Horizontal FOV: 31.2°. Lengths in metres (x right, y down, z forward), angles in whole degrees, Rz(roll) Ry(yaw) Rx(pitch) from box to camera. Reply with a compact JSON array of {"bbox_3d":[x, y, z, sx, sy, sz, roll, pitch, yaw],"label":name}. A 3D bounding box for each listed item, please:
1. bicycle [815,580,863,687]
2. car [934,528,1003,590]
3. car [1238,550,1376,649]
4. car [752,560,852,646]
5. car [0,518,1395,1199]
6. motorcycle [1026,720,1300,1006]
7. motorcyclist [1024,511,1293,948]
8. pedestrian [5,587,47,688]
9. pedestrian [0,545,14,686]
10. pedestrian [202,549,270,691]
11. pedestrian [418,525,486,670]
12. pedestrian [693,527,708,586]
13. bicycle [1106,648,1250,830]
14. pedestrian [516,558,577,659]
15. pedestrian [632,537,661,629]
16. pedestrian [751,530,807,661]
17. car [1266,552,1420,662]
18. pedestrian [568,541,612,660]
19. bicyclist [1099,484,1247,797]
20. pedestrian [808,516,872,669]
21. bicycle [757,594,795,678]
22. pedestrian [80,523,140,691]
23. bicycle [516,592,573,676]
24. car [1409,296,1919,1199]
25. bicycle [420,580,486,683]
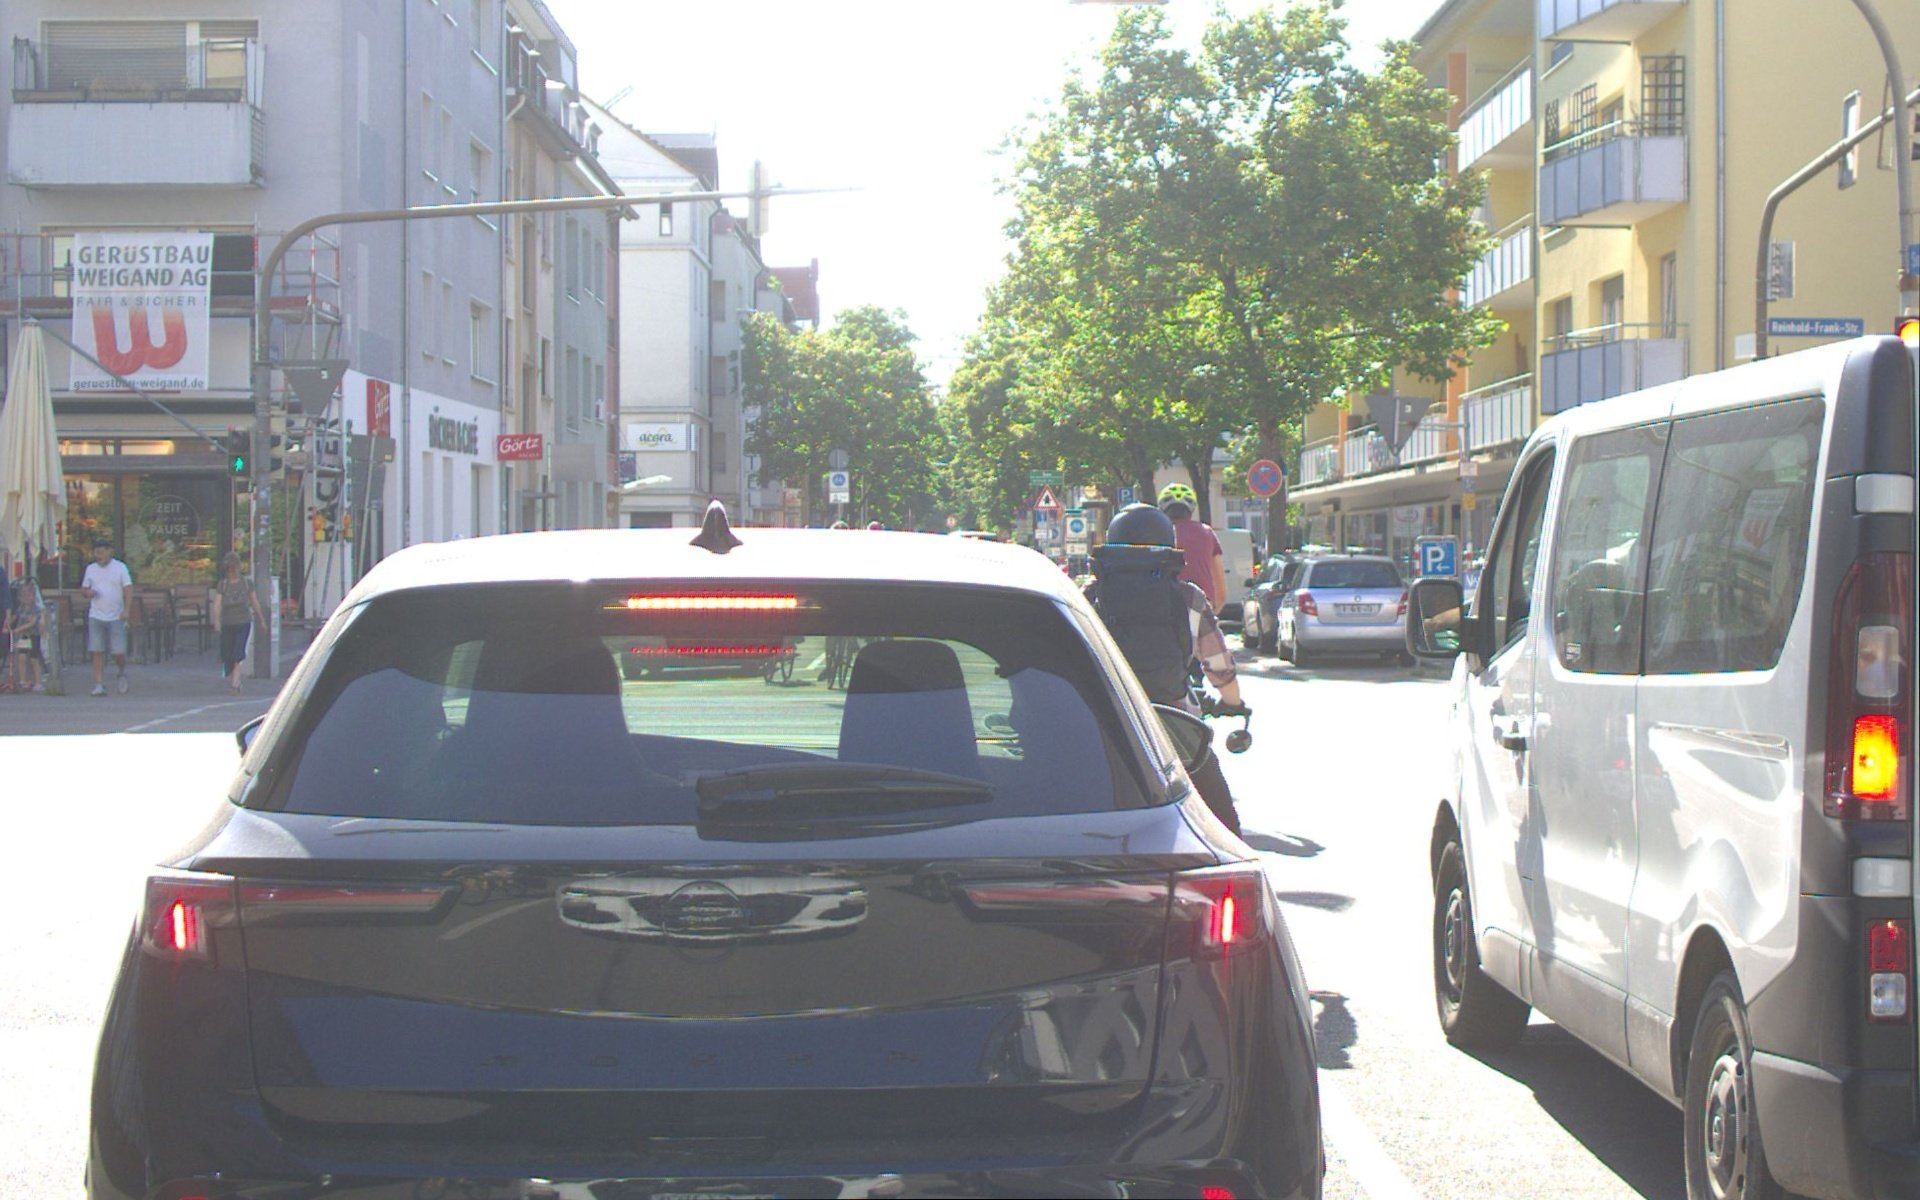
[{"bbox_3d":[-1.371,0.358,38.699,0.521,1.143,2.170,0,1,-2],"label":"bicycle"},{"bbox_3d":[0.253,-1.177,97.799,1.902,1.722,4.073,0,1,0],"label":"car"},{"bbox_3d":[5.207,-0.034,51.931,1.634,1.428,4.000,0,1,-1],"label":"car"},{"bbox_3d":[-3.244,0.036,71.271,1.825,1.722,4.000,0,1,1],"label":"car"},{"bbox_3d":[-0.420,0.626,6.313,1.770,1.525,4.001,0,1,-2],"label":"car"},{"bbox_3d":[0.682,0.895,12.199,0.825,0.842,1.885,0,1,-1],"label":"motorcycle"},{"bbox_3d":[0.690,0.437,12.360,0.864,1.497,1.160,0,1,-2],"label":"motorcyclist"},{"bbox_3d":[-10.174,0.408,37.447,0.355,1.088,0.462,0,1,-3],"label":"pedestrian"},{"bbox_3d":[-10.655,0.165,37.378,0.584,1.516,0.650,0,1,-3],"label":"pedestrian"},{"bbox_3d":[-7.775,0.208,36.944,0.617,1.516,0.725,0,1,-3],"label":"pedestrian"},{"bbox_3d":[-5.927,-0.035,40.125,0.707,1.672,0.802,0,1,-2],"label":"pedestrian"},{"bbox_3d":[-7.413,-1.239,98.295,0.402,1.669,0.418,0,1,-1],"label":"pedestrian"},{"bbox_3d":[1.212,0.757,19.487,0.577,0.901,2.301,0,1,-2],"label":"bicycle"},{"bbox_3d":[-5.181,0.098,43.112,0.707,1.249,0.802,0,1,-2],"label":"pedestrian"},{"bbox_3d":[-5.785,-0.313,63.443,0.488,1.684,0.588,0,1,-1],"label":"pedestrian"},{"bbox_3d":[-2.231,-0.057,42.403,0.680,1.600,0.762,0,1,-2],"label":"pedestrian"},{"bbox_3d":[5.216,0.061,47.251,1.634,1.428,3.957,0,1,-1],"label":"car"},{"bbox_3d":[-5.280,0.004,49.050,0.570,1.684,0.588,0,1,-1],"label":"pedestrian"},{"bbox_3d":[1.192,0.208,19.461,0.689,1.707,1.414,0,1,-2],"label":"bicyclist"},{"bbox_3d":[-1.350,-0.085,38.536,0.707,1.695,0.802,0,1,-2],"label":"pedestrian"},{"bbox_3d":[-2.272,0.435,42.654,0.443,0.989,2.069,0,1,-2],"label":"bicycle"},{"bbox_3d":[-9.020,0.072,36.503,0.561,1.769,0.584,0,1,-9],"label":"pedestrian"},{"bbox_3d":[-5.181,0.413,42.951,0.521,0.989,2.340,0,1,-2],"label":"bicycle"},{"bbox_3d":[2.464,0.431,8.461,1.993,1.972,4.895,1,1,-1],"label":"car"},{"bbox_3d":[-5.943,0.351,40.360,0.521,1.143,2.284,0,1,-2],"label":"bicycle"}]
